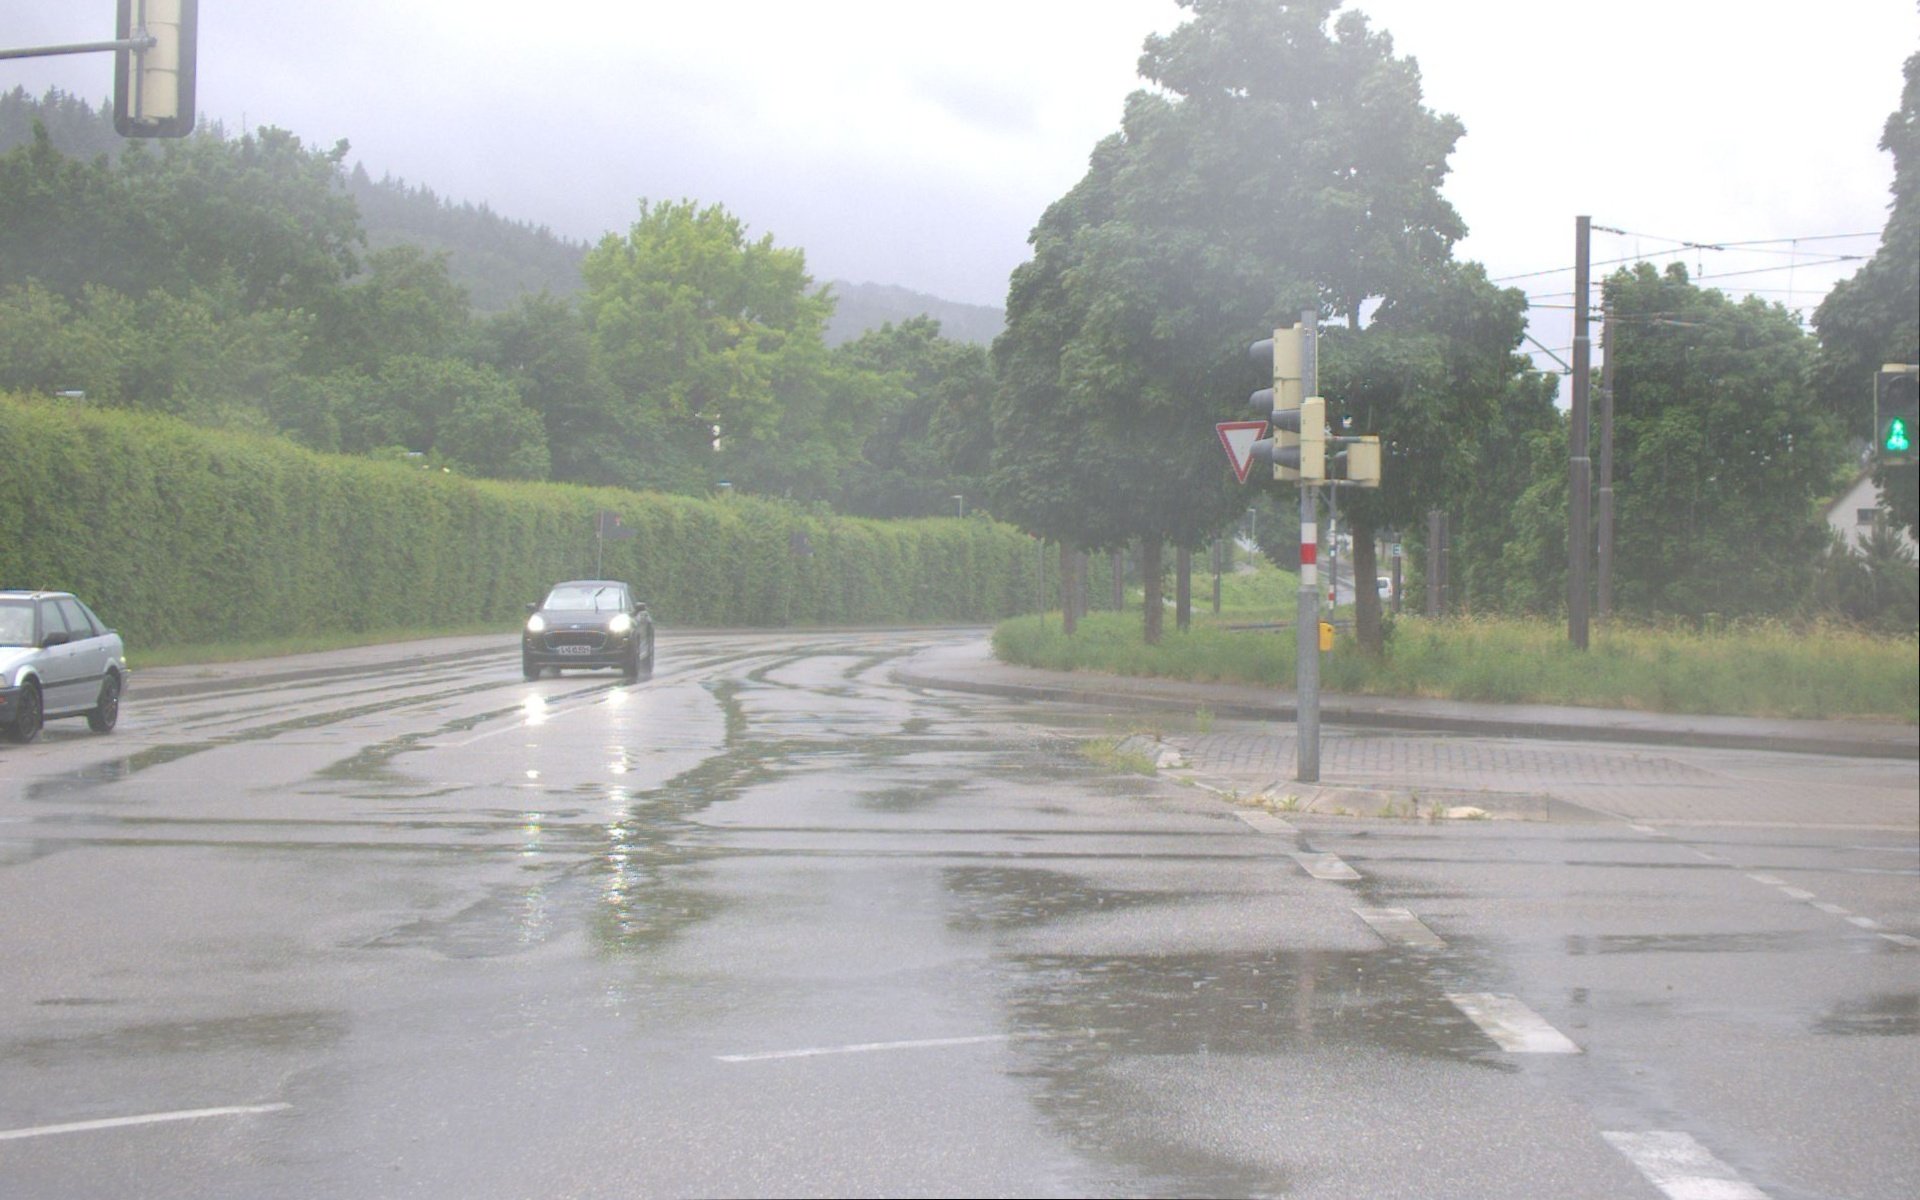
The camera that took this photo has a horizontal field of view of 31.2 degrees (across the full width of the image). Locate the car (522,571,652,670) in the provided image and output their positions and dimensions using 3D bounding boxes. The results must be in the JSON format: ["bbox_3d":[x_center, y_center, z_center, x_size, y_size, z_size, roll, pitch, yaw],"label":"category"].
[{"bbox_3d":[-5.970,0.305,55.330,1.784,1.499,4.061,0,1,-2],"label":"car"}]

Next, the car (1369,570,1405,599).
[{"bbox_3d":[28.901,-1.078,232.494,1.954,1.897,4.117,0,1,13],"label":"car"}]

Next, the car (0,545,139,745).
[{"bbox_3d":[-9.136,0.359,31.995,2.036,1.702,4.066,1,1,-1],"label":"car"}]
